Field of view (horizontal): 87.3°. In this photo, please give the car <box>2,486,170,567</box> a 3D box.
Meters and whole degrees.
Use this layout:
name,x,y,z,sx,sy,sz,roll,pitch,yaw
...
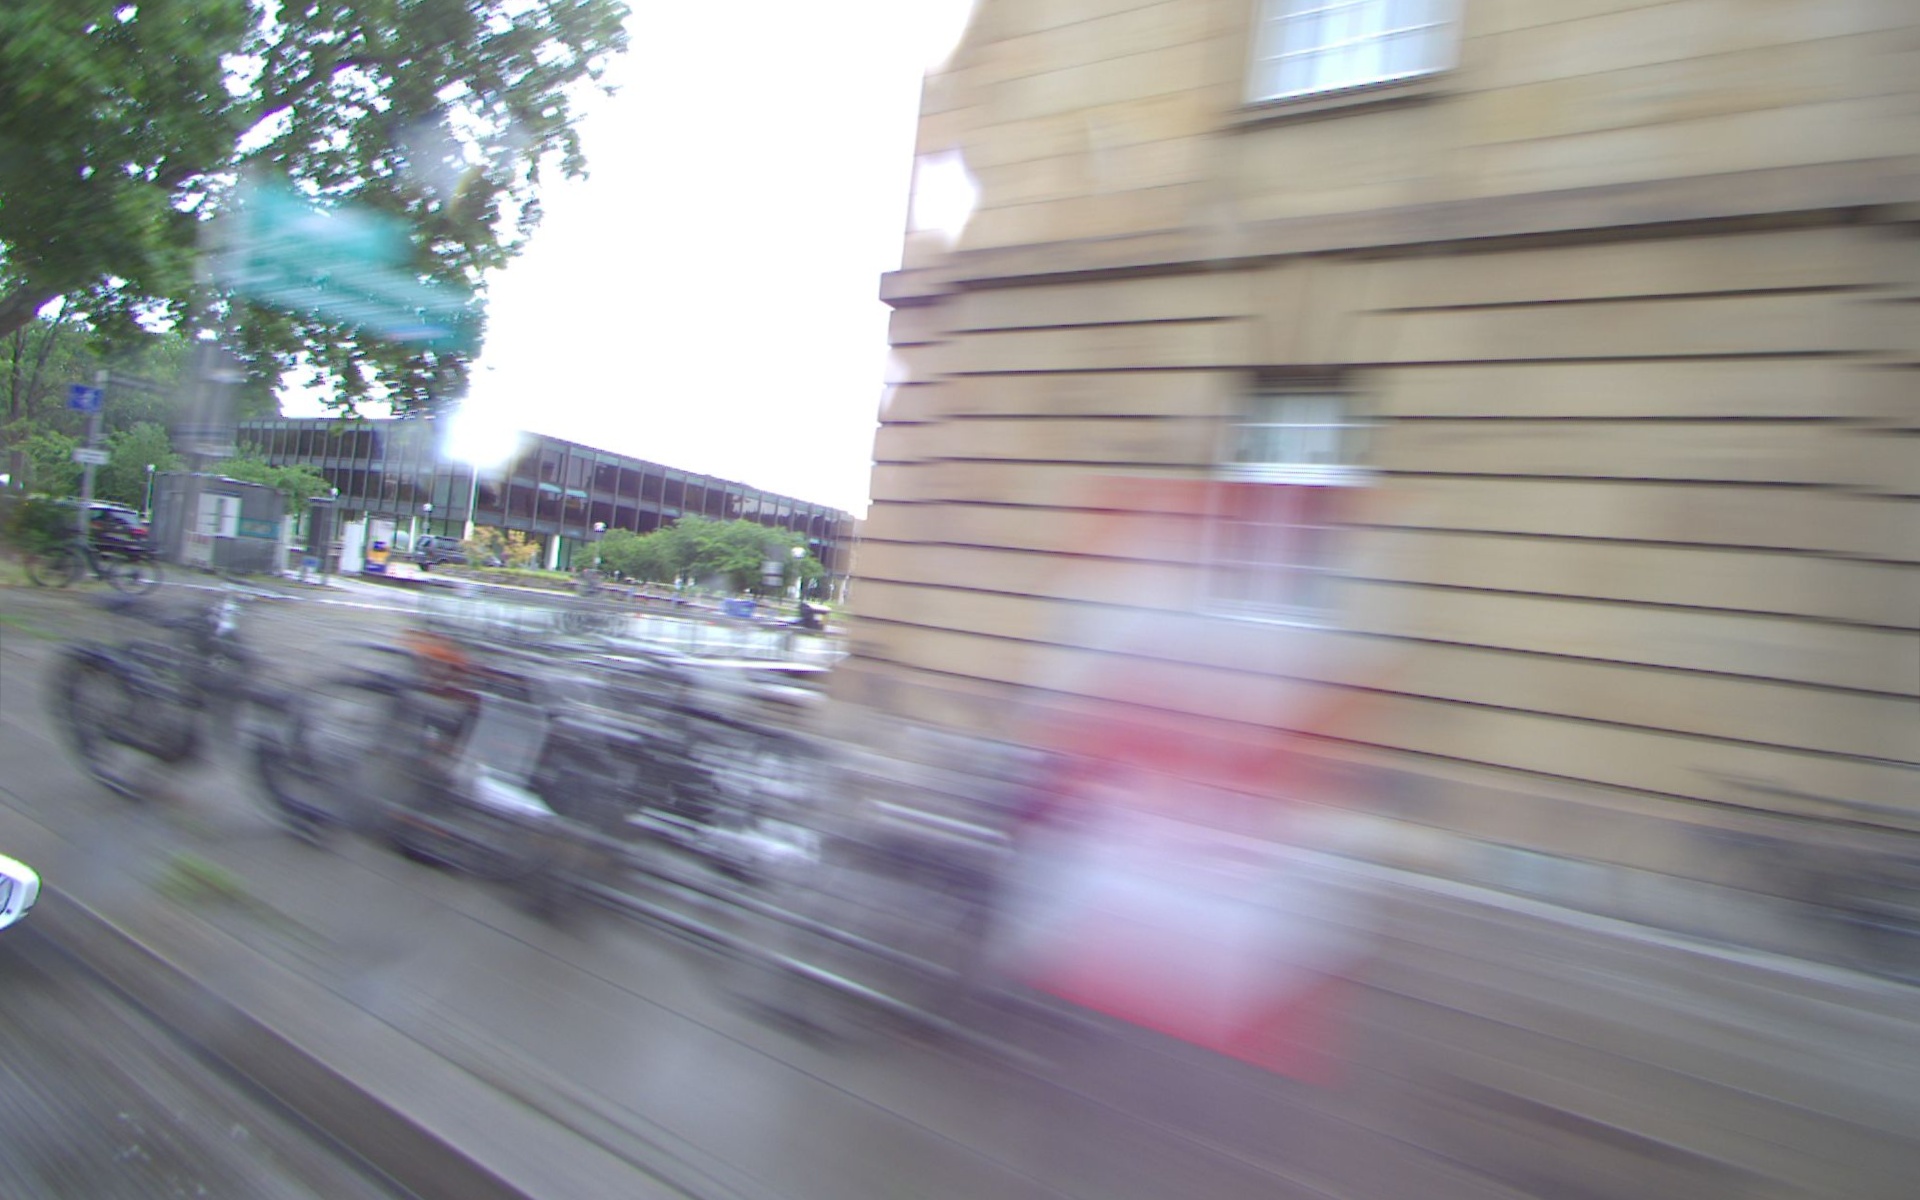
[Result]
name,x,y,z,sx,sy,sz,roll,pitch,yaw
car,-24.975,-2.120,28.704,5.148,1.629,1.997,8,-1,31

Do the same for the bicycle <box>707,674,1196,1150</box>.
name,x,y,z,sx,sy,sz,roll,pitch,yaw
bicycle,0.141,0.861,3.515,0.746,1.072,1.990,6,-2,28

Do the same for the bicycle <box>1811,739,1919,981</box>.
name,x,y,z,sx,sy,sz,roll,pitch,yaw
bicycle,5.803,1.521,5.512,1.573,1.265,0.454,7,-2,30

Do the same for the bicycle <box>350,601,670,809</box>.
name,x,y,z,sx,sy,sz,roll,pitch,yaw
bicycle,-2.548,0.605,5.884,0.516,1.006,1.591,7,-1,33

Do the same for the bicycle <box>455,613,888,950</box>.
name,x,y,z,sx,sy,sz,roll,pitch,yaw
bicycle,-1.130,0.705,4.335,0.640,1.103,1.681,6,-2,33

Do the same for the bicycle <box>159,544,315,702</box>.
name,x,y,z,sx,sy,sz,roll,pitch,yaw
bicycle,-6.476,0.175,8.969,1.877,1.212,0.604,5,1,39

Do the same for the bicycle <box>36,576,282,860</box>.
name,x,y,z,sx,sy,sz,roll,pitch,yaw
bicycle,-3.639,0.455,4.514,0.667,0.979,1.618,8,-1,-43

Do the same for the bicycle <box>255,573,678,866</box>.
name,x,y,z,sx,sy,sz,roll,pitch,yaw
bicycle,-2.292,0.553,4.900,0.592,1.136,1.681,7,-1,33

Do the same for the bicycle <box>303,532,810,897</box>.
name,x,y,z,sx,sy,sz,roll,pitch,yaw
bicycle,-1.775,0.523,4.892,0.640,1.352,2.193,6,-2,33

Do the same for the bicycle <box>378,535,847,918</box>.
name,x,y,z,sx,sy,sz,roll,pitch,yaw
bicycle,-1.440,0.532,4.589,0.640,1.348,1.908,6,-1,33

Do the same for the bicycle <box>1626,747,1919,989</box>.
name,x,y,z,sx,sy,sz,roll,pitch,yaw
bicycle,4.964,1.538,5.810,1.759,1.094,0.352,5,1,31

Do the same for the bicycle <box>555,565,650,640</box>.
name,x,y,z,sx,sy,sz,roll,pitch,yaw
bicycle,-9.225,0.102,26.081,0.761,1.686,2.323,5,-2,25

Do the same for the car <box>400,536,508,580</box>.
name,x,y,z,sx,sy,sz,roll,pitch,yaw
car,-29.334,-2.386,58.497,2.419,1.784,5.017,6,-1,29

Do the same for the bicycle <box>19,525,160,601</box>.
name,x,y,z,sx,sy,sz,roll,pitch,yaw
bicycle,-14.785,-0.611,17.127,0.566,1.031,1.643,6,-3,36

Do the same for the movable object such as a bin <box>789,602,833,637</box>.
name,x,y,z,sx,sy,sz,roll,pitch,yaw
movable object such as a bin,-6.945,0.914,47.016,1.230,1.475,1.490,6,0,35
